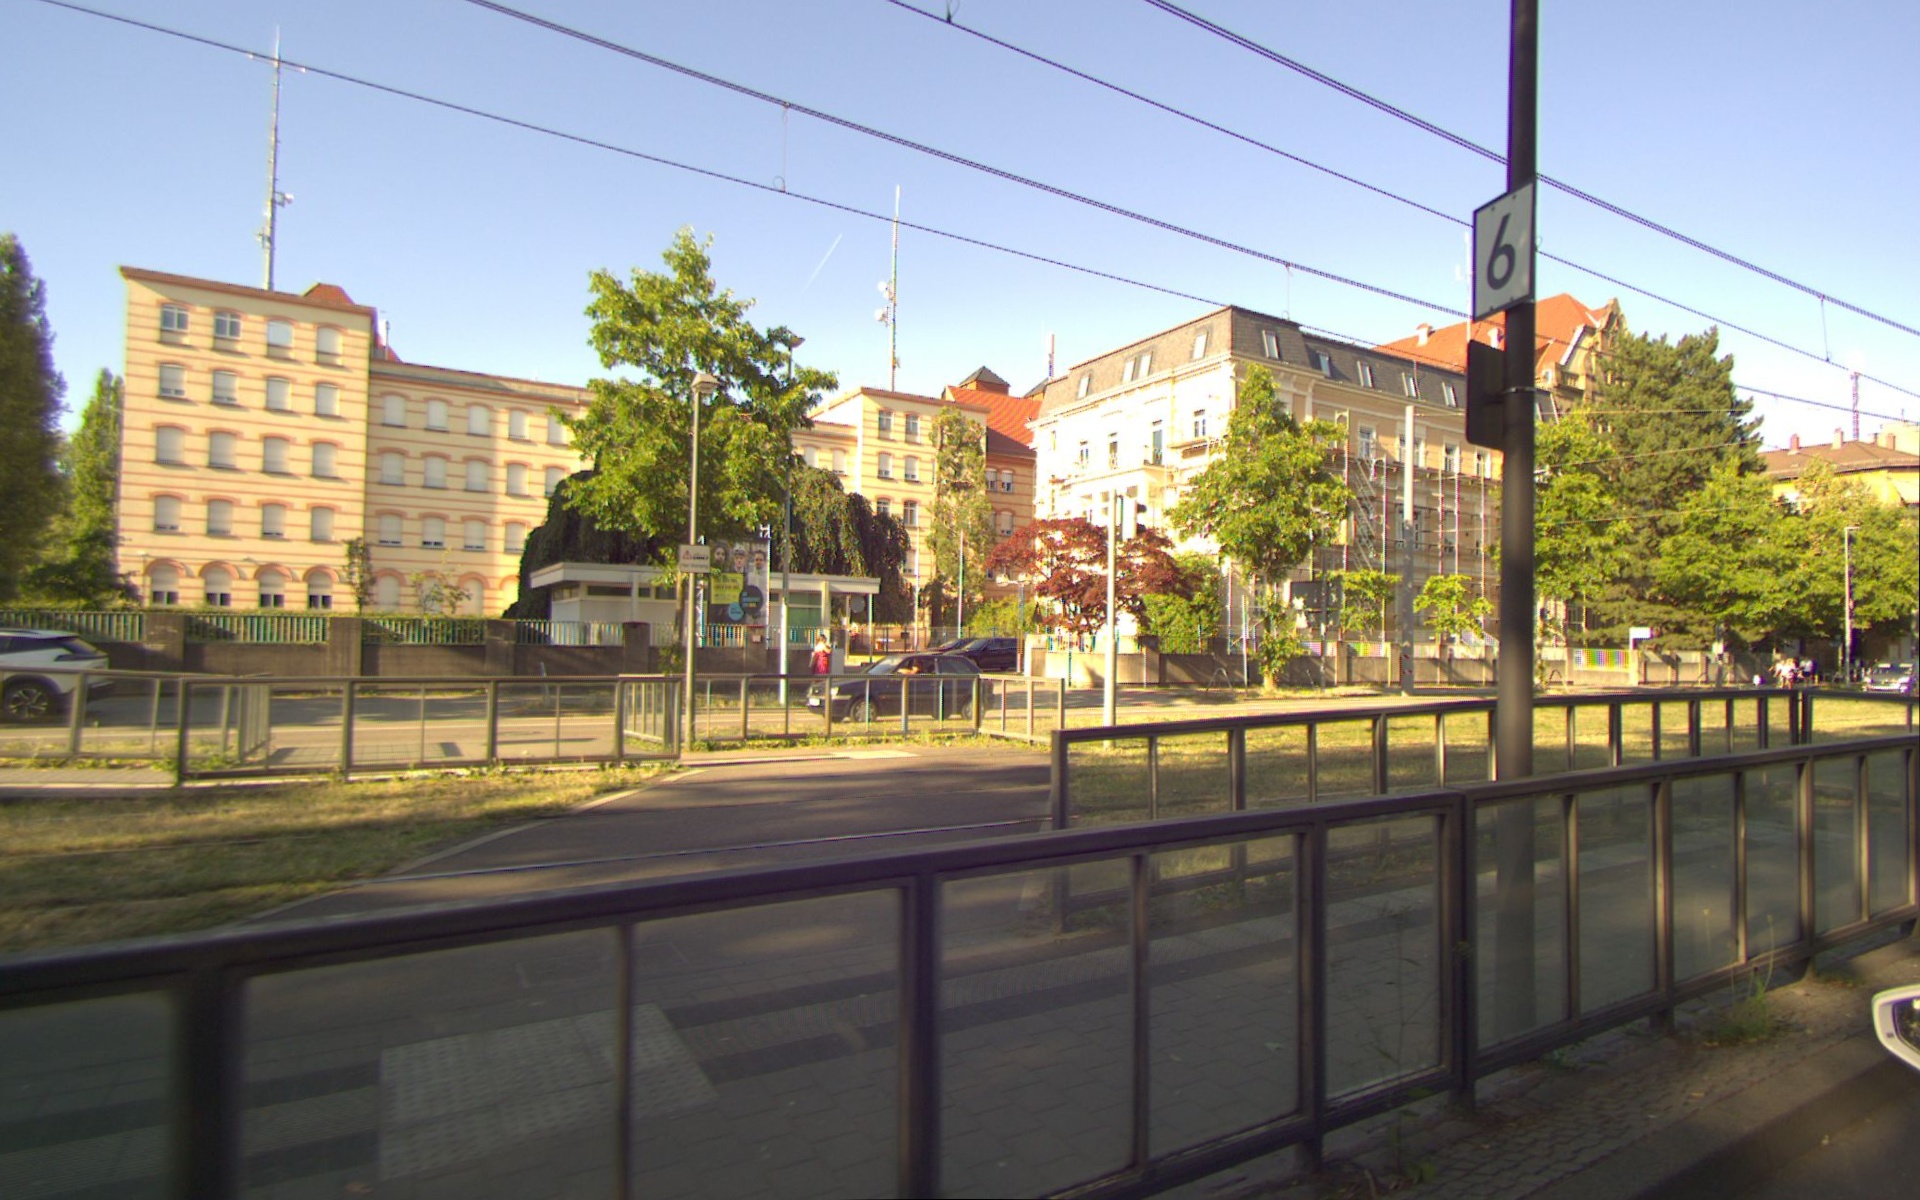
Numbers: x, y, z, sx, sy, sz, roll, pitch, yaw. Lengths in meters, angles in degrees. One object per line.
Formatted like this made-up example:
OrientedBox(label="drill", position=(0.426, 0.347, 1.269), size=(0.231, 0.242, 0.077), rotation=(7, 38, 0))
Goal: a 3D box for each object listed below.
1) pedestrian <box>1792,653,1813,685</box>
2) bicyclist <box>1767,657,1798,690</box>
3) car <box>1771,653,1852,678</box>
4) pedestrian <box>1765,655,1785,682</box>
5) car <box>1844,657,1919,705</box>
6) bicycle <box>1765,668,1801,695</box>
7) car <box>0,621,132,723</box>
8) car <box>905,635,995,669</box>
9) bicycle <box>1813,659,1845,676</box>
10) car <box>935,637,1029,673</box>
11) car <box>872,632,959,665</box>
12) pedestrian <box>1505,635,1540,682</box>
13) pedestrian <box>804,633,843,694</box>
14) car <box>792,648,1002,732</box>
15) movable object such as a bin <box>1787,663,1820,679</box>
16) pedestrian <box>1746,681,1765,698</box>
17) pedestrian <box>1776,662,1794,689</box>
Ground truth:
OrientedBox(label="pedestrian", position=(47.777, 3.898, 56.956), size=(0.878, 1.798, 0.646), rotation=(2, -3, -32))
OrientedBox(label="bicyclist", position=(38.966, 3.495, 47.579), size=(1.121, 1.501, 0.771), rotation=(2, 0, -31))
OrientedBox(label="car", position=(58.462, 4.486, 69.091), size=(1.961, 1.491, 4.192), rotation=(2, -2, -1))
OrientedBox(label="pedestrian", position=(47.737, 4.009, 58.850), size=(0.774, 1.559, 0.646), rotation=(2, -3, -32))
OrientedBox(label="car", position=(42.730, 3.709, 45.768), size=(4.410, 1.944, 1.934), rotation=(3, 0, -23))
OrientedBox(label="bicycle", position=(38.994, 3.838, 47.606), size=(1.735, 1.209, 0.771), rotation=(2, 0, -31))
OrientedBox(label="car", position=(-16.680, 1.167, 16.805), size=(4.012, 1.607, 1.715), rotation=(2, -1, -27))
OrientedBox(label="car", position=(-0.456, 2.375, 46.023), size=(3.807, 1.426, 1.598), rotation=(3, -1, -31))
OrientedBox(label="bicycle", position=(64.495, 5.021, 74.522), size=(2.206, 1.194, 0.784), rotation=(2, 0, -19))
OrientedBox(label="car", position=(0.961, 2.405, 43.604), size=(3.807, 1.426, 1.598), rotation=(3, -1, -31))
OrientedBox(label="car", position=(-2.111, 2.329, 47.868), size=(3.807, 1.426, 1.598), rotation=(3, -1, -31))
OrientedBox(label="pedestrian", position=(23.898, 2.498, 42.700), size=(1.074, 1.953, 0.854), rotation=(2, -3, -32))
OrientedBox(label="pedestrian", position=(-3.793, 1.759, 27.871), size=(0.805, 1.669, 0.719), rotation=(3, -4, -36))
OrientedBox(label="car", position=(-1.217, 1.730, 19.819), size=(3.807, 1.426, 1.598), rotation=(3, -1, -31))
OrientedBox(label="movable object such as a bin", position=(51.866, 4.365, 61.736), size=(1.223, 0.876, 1.238), rotation=(3, -1, -32))
OrientedBox(label="pedestrian", position=(44.238, 4.961, 55.866), size=(0.579, 0.944, 0.646), rotation=(3, -4, -33))
OrientedBox(label="pedestrian", position=(50.668, 4.617, 61.664), size=(0.789, 1.614, 0.614), rotation=(2, 0, -32))
